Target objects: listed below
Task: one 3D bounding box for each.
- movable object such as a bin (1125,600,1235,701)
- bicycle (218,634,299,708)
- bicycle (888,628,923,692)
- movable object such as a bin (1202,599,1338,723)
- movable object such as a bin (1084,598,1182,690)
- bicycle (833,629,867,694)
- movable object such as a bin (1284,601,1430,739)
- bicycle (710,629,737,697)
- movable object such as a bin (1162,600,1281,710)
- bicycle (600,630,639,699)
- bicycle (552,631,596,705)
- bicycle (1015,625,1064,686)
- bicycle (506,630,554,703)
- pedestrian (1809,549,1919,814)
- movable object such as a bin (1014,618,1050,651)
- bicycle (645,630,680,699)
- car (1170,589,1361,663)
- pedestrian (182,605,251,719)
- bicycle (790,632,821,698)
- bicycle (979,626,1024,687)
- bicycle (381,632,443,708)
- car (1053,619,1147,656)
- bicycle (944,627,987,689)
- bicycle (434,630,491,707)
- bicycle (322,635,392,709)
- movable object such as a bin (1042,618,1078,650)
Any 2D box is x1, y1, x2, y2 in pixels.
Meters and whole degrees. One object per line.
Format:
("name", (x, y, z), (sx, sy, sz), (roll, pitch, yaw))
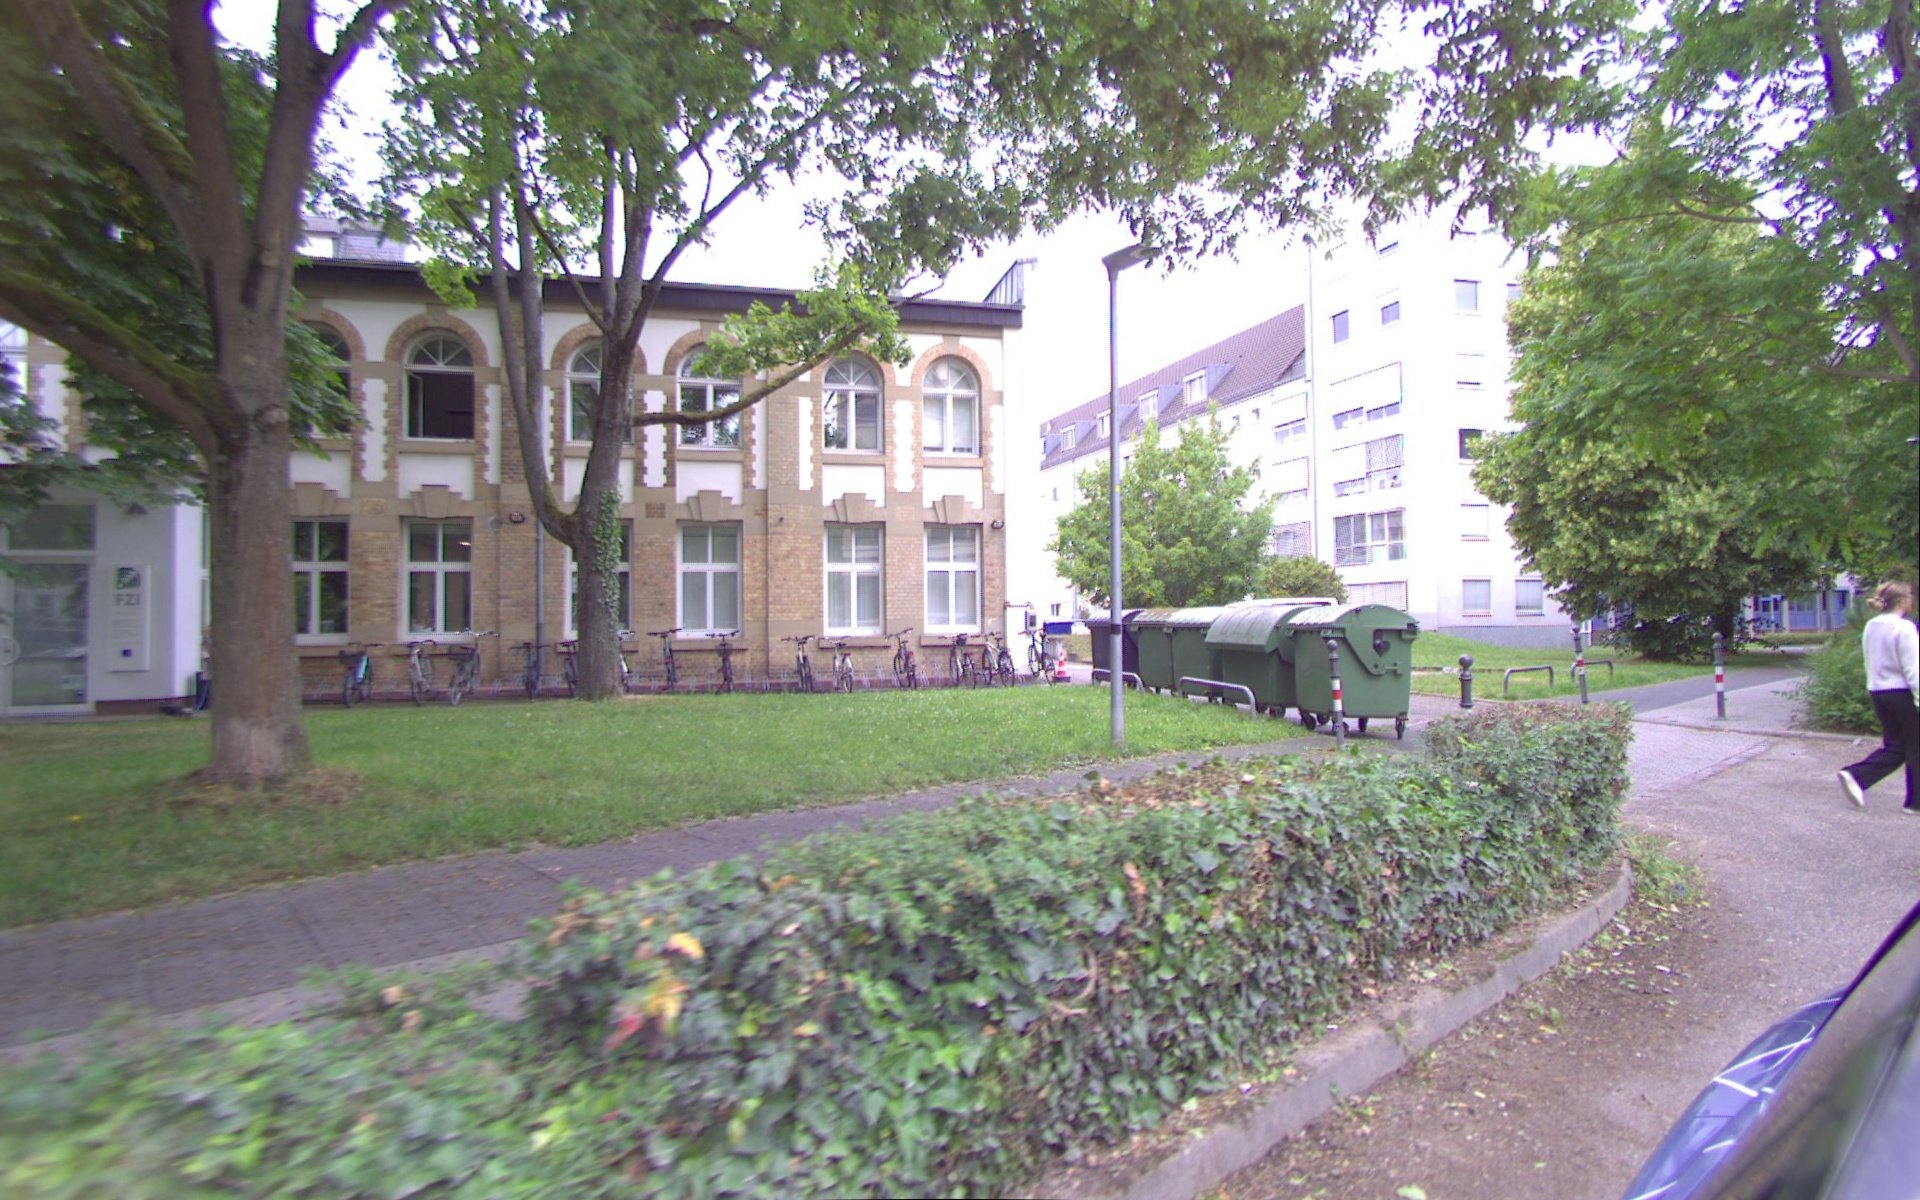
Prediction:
("movable object such as a bin", (3.396, 0.759, 15.738), (1.085, 1.469, 1.329), (0, -1, -21))
("bicycle", (-11.592, 1.144, 16.772), (0.451, 1.129, 1.747), (0, -1, -12))
("bicycle", (-1.042, 1.113, 19.179), (0.451, 1.129, 1.747), (0, -1, -10))
("movable object such as a bin", (3.903, 0.742, 12.845), (1.085, 1.469, 1.288), (0, -1, -17))
("movable object such as a bin", (2.909, 0.729, 17.125), (1.085, 1.469, 1.365), (0, -1, -19))
("bicycle", (-2.072, 1.120, 18.967), (0.451, 1.129, 1.747), (0, -1, -12))
("movable object such as a bin", (4.442, 0.749, 11.432), (1.050, 1.452, 1.276), (0, -1, -5))
("bicycle", (-4.282, 1.114, 18.381), (0.451, 1.129, 1.747), (0, -1, -12))
("movable object such as a bin", (3.676, 0.750, 14.345), (1.085, 1.469, 1.297), (0, -1, -17))
("bicycle", (-6.001, 1.110, 17.897), (0.451, 1.129, 1.747), (0, -1, -12))
("bicycle", (-6.755, 1.159, 17.744), (0.451, 1.128, 1.748), (0, 1, -12))
("bicycle", (1.555, 1.067, 19.999), (0.451, 1.129, 1.747), (0, -1, -13))
("bicycle", (-7.503, 1.130, 17.699), (0.451, 1.129, 1.748), (0, 0, -12))
("pedestrian", (6.653, 0.555, 7.206), (0.743, 1.804, 0.657), (-1, -1, 26))
("movable object such as a bin", (3.033, 1.461, 42.891), (1.156, 1.324, 1.230), (-1, -2, -15))
("bicycle", (-5.285, 1.117, 18.030), (0.451, 1.129, 1.747), (0, -1, -12))
("car", (8.473, 0.735, 28.197), (4.673, 1.898, 1.904), (-1, -3, -12))
("pedestrian", (-10.838, 0.885, 14.766), (0.614, 1.607, 0.605), (0, -1, -14))
("bicycle", (-2.873, 1.170, 18.738), (0.451, 1.129, 1.747), (0, -1, -12))
("bicycle", (0.797, 1.074, 19.801), (0.451, 1.129, 1.747), (0, -1, -12))
("bicycle", (-9.249, 1.153, 17.130), (0.451, 1.128, 1.748), (0, 1, -12))
("car", (7.036, 1.839, 50.941), (4.250, 1.757, 2.004), (0, -1, -20))
("bicycle", (0.093, 1.096, 19.559), (0.451, 1.129, 1.747), (0, -1, -12))
("bicycle", (-8.489, 1.139, 17.318), (0.451, 1.128, 1.748), (0, 2, -12))
("bicycle", (-10.052, 1.167, 16.919), (0.451, 1.129, 1.747), (0, -1, -12))
("movable object such as a bin", (4.252, 1.448, 43.217), (1.156, 1.324, 1.230), (-1, -2, -15))
